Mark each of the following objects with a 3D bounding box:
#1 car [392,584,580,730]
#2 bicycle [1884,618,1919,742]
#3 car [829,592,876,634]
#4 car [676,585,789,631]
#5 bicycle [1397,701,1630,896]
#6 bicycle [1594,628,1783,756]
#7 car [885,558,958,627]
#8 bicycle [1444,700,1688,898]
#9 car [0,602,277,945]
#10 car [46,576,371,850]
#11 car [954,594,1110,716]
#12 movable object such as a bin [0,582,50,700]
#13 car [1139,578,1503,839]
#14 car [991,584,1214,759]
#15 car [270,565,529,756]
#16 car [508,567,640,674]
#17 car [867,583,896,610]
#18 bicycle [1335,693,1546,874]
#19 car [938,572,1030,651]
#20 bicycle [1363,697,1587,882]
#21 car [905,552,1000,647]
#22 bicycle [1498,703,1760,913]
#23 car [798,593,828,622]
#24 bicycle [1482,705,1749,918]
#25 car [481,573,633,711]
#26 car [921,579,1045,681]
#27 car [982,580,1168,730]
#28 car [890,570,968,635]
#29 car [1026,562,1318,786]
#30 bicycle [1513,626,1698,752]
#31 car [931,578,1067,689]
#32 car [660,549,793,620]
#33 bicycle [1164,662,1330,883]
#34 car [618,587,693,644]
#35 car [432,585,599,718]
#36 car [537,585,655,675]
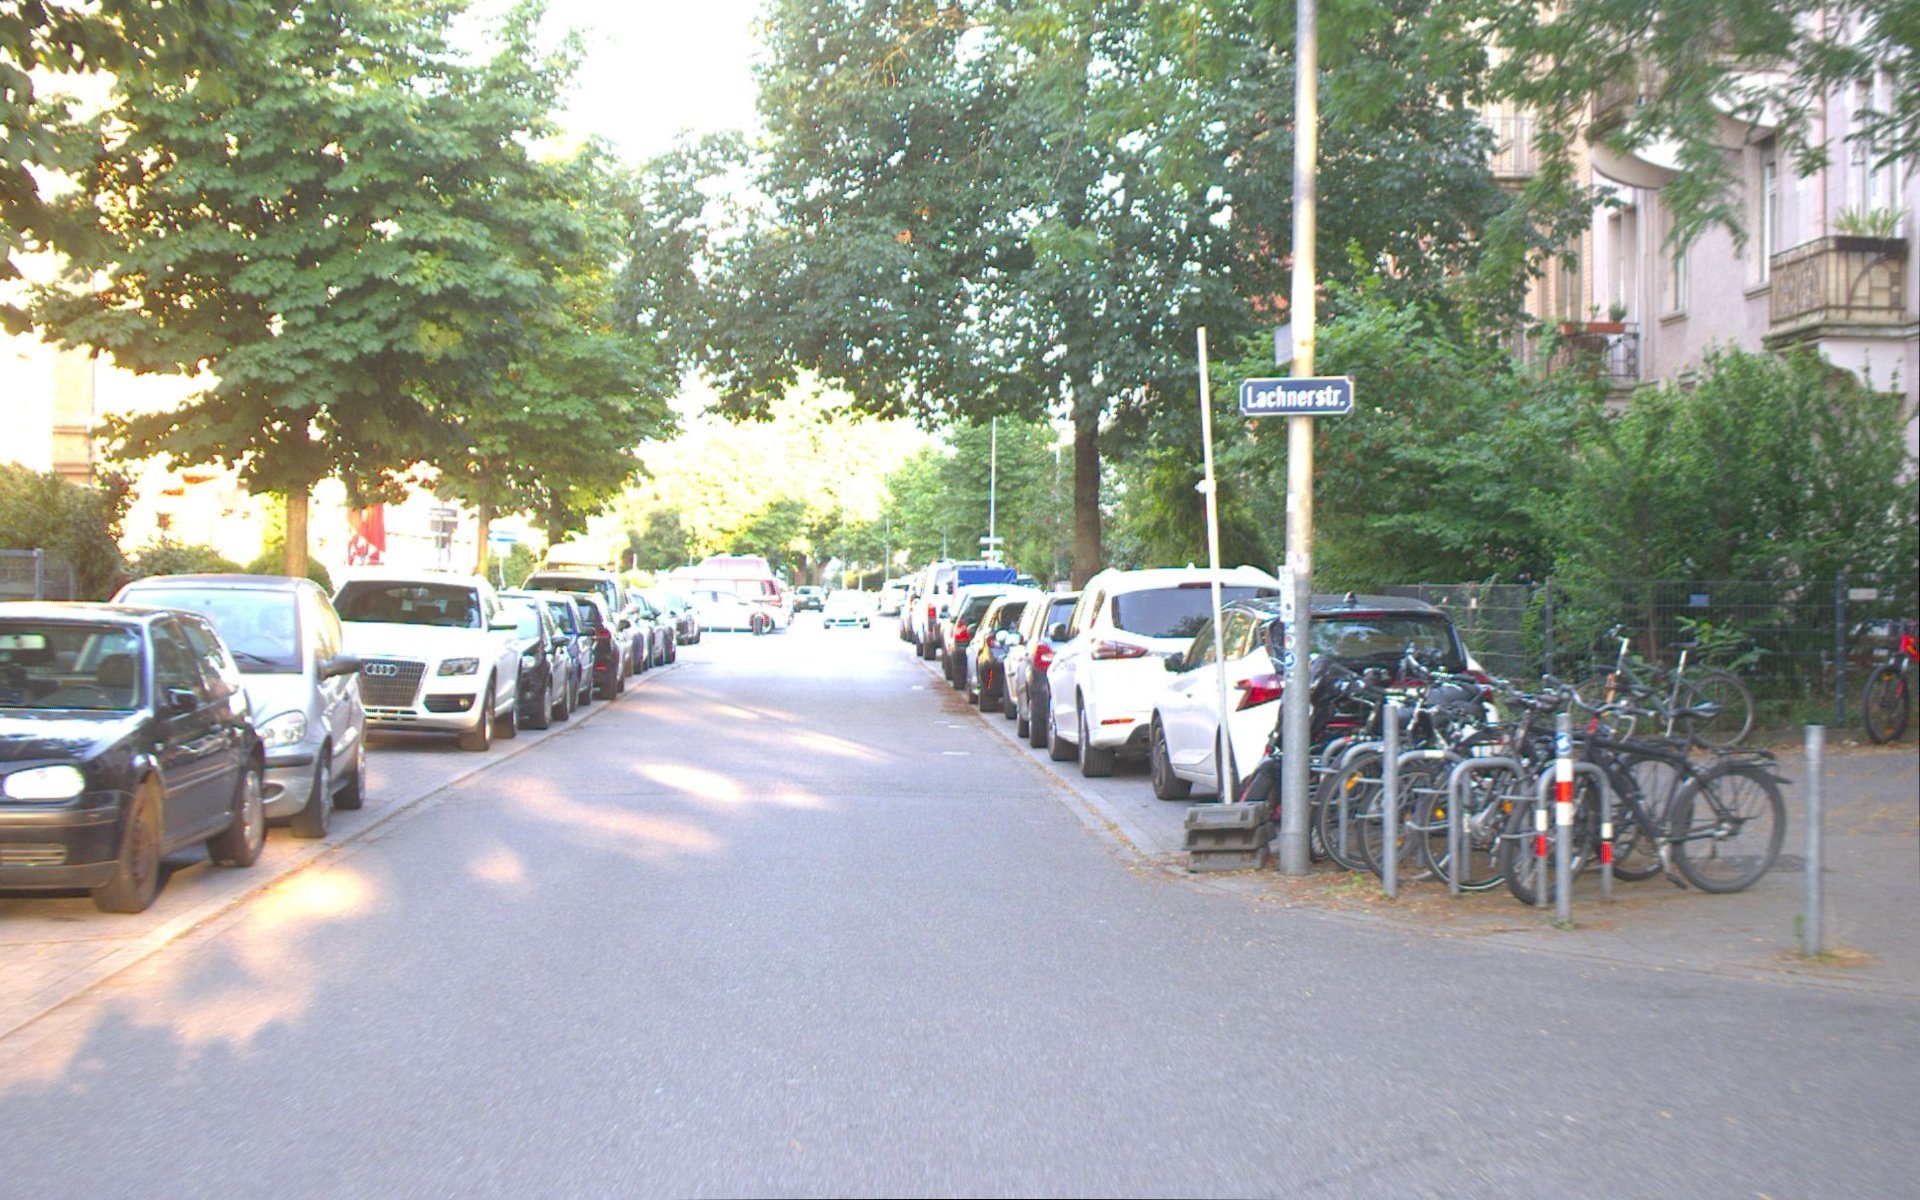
[{"bbox_3d":[-5.316,0.627,38.941,1.715,1.561,3.781,1,0,-2],"label":"car"},{"bbox_3d":[8.627,0.666,29.112,1.509,1.030,0.330,-1,1,-4],"label":"bicycle"},{"bbox_3d":[-4.233,0.517,135.442,1.813,1.590,3.483,1,0,-2],"label":"car"},{"bbox_3d":[-7.413,0.250,111.845,3.618,1.456,1.607,1,0,-5],"label":"car"},{"bbox_3d":[2.908,1.031,18.052,1.224,0.954,0.330,-1,1,-24],"label":"bicycle"},{"bbox_3d":[6.105,0.769,28.827,1.509,1.030,0.330,-1,1,-4],"label":"bicycle"},{"bbox_3d":[-1.049,-0.198,92.822,1.686,1.805,3.940,1,0,-5],"label":"car"},{"bbox_3d":[3.113,1.014,17.664,1.224,0.960,0.330,-1,1,-19],"label":"bicycle"},{"bbox_3d":[-4.644,0.768,17.221,1.616,1.465,3.961,1,1,0],"label":"car"},{"bbox_3d":[-4.758,0.658,22.179,1.595,1.598,3.745,1,1,-5],"label":"car"},{"bbox_3d":[0.871,0.673,43.855,1.686,1.436,4.210,-2,0,-2],"label":"car"},{"bbox_3d":[-11.296,0.461,40.103,1.013,1.316,1.005,3,1,3],"label":"movable object such as a bin"},{"bbox_3d":[2.323,0.660,23.002,1.686,1.587,3.659,0,1,-6],"label":"car"},{"bbox_3d":[1.338,0.663,33.839,1.686,1.600,4.210,1,0,-5],"label":"car"},{"bbox_3d":[-5.336,0.525,33.246,1.921,1.711,4.428,1,1,-2],"label":"car"},{"bbox_3d":[-6.038,0.298,54.193,1.715,1.591,4.519,1,0,-2],"label":"car"},{"bbox_3d":[-4.840,-0.230,211.262,1.715,1.590,3.483,1,0,-2],"label":"car"},{"bbox_3d":[2.709,1.020,19.361,1.224,0.948,0.330,-1,2,-29],"label":"bicycle"},{"bbox_3d":[0.457,0.227,68.494,1.538,1.516,3.432,1,0,-5],"label":"car"},{"bbox_3d":[2.812,1.024,18.750,1.224,0.944,0.330,-1,1,-24],"label":"bicycle"},{"bbox_3d":[-0.187,-0.001,72.252,1.680,1.934,3.881,1,0,-5],"label":"car"},{"bbox_3d":[3.324,1.028,17.106,1.224,0.984,0.330,-1,1,-5],"label":"bicycle"},{"bbox_3d":[-8.493,0.417,198.499,1.715,1.590,3.483,1,0,-2],"label":"car"},{"bbox_3d":[3.188,1.024,16.746,1.224,0.984,0.330,-1,1,-4],"label":"bicycle"},{"bbox_3d":[-5.476,0.539,47.149,1.715,1.784,4.216,1,1,-2],"label":"car"},{"bbox_3d":[0.344,0.473,56.342,1.686,1.600,3.940,1,0,-5],"label":"car"},{"bbox_3d":[1.261,0.600,39.105,1.686,1.600,3.749,1,0,-5],"label":"car"},{"bbox_3d":[-0.801,0.059,86.923,1.686,1.600,3.940,1,0,-5],"label":"car"},{"bbox_3d":[1.670,0.564,28.627,1.797,1.705,4.601,0,0,-5],"label":"car"},{"bbox_3d":[5.511,0.755,29.379,1.509,1.030,0.330,-1,1,-4],"label":"bicycle"},{"bbox_3d":[0.554,0.492,51.939,1.686,1.600,3.940,1,0,-5],"label":"car"},{"bbox_3d":[-7.765,-0.513,114.393,4.349,2.310,1.746,1,0,-3],"label":"car"},{"bbox_3d":[1.649,0.953,19.555,0.444,1.169,1.634,1,0,23],"label":"bicycle"},{"bbox_3d":[-8.086,0.424,91.451,1.715,1.481,3.630,1,-1,-1],"label":"car"},{"bbox_3d":[-5.536,0.605,43.186,1.715,1.561,3.788,1,1,-2],"label":"car"},{"bbox_3d":[-6.216,0.487,59.017,1.715,1.460,3.987,1,1,-2],"label":"car"}]
